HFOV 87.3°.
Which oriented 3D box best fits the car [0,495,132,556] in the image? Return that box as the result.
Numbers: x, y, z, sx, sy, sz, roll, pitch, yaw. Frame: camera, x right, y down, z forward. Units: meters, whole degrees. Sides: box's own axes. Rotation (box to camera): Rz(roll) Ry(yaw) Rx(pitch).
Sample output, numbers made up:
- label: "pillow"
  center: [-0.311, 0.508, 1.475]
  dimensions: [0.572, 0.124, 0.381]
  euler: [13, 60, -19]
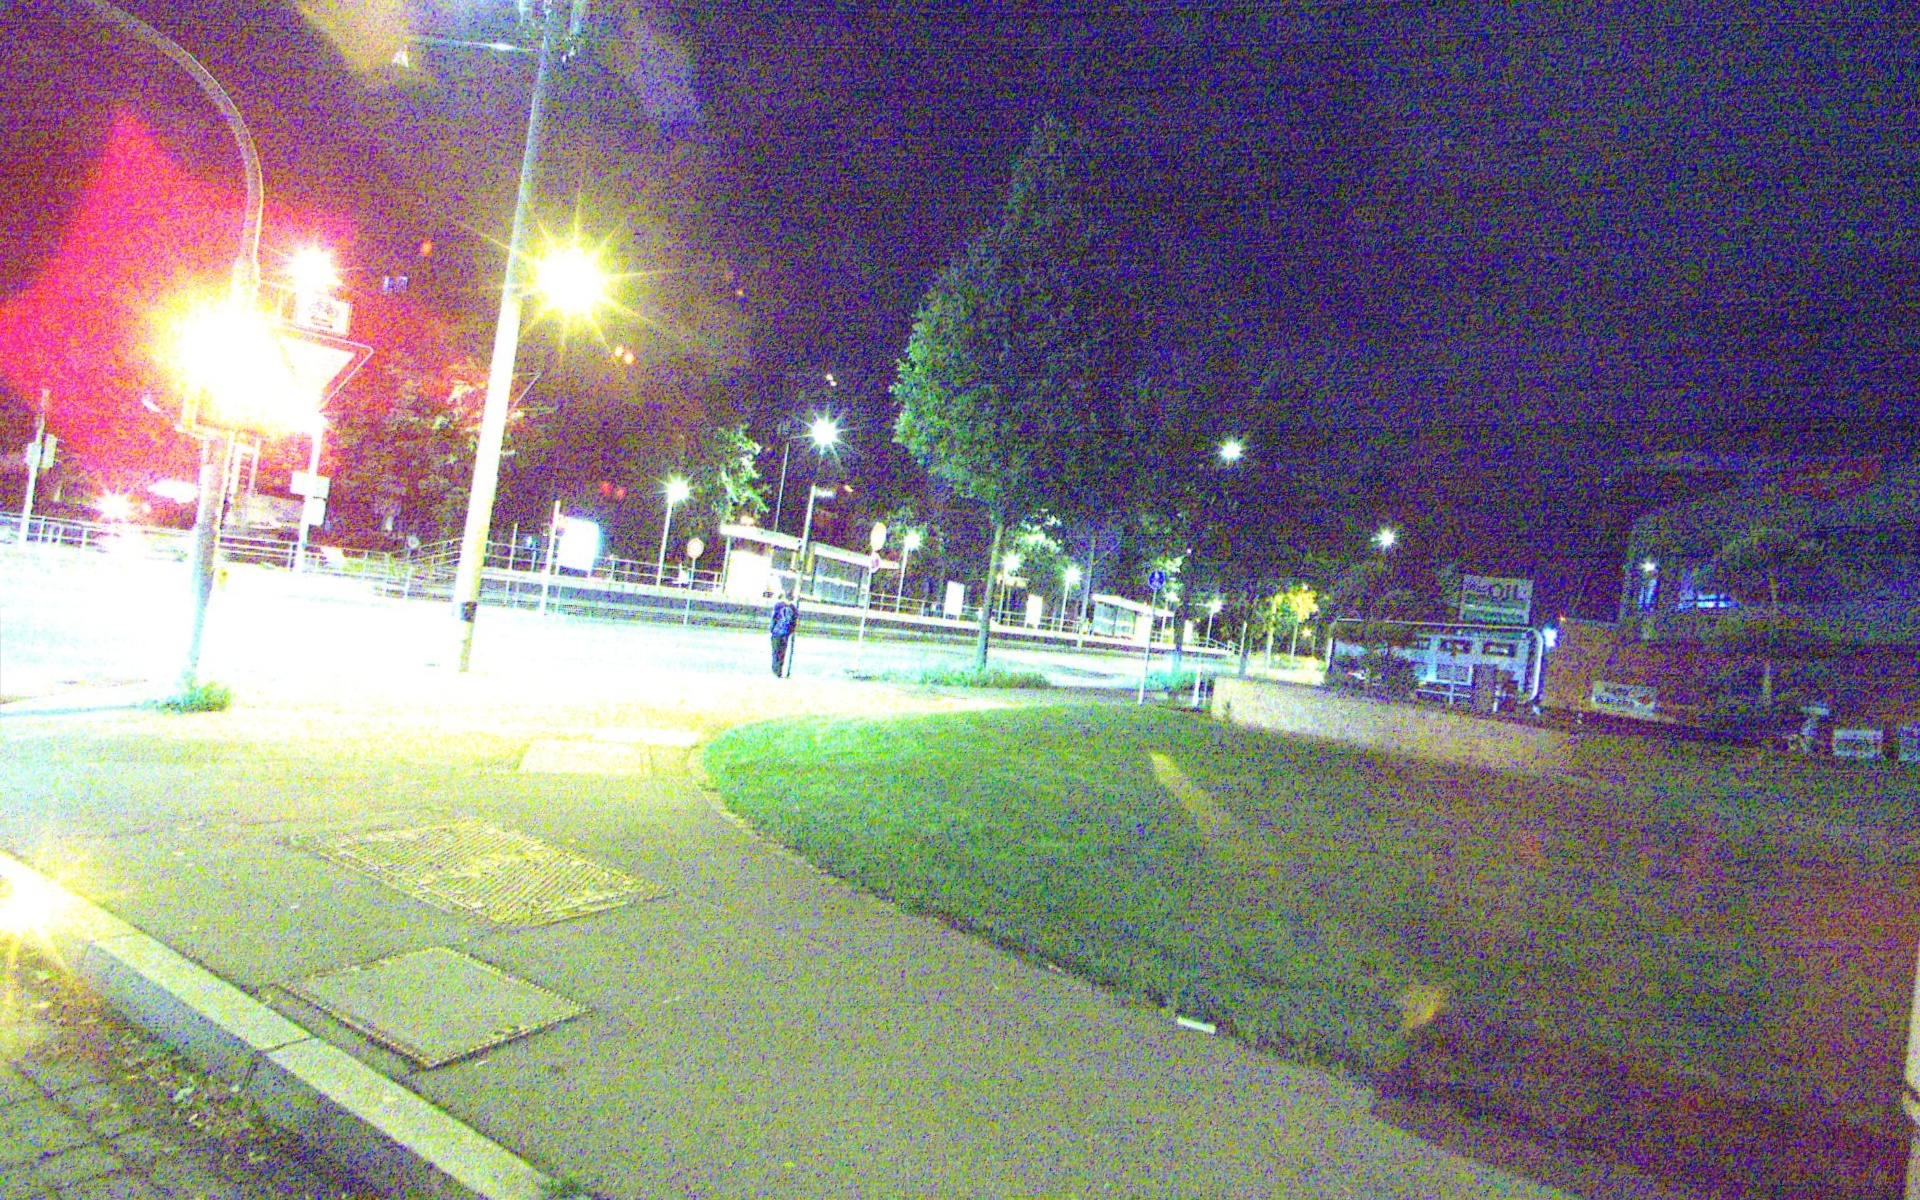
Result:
- label: "car"
  center: [-28.118, -2.329, 30.802]
  dimensions: [1.741, 1.421, 3.873]
  euler: [6, -1, 35]

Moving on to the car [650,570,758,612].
- label: "car"
  center: [-12.253, -0.403, 48.428]
  dimensions: [1.822, 1.437, 4.943]
  euler: [6, -1, 35]

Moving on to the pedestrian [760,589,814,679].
- label: "pedestrian"
  center: [-3.372, 0.651, 19.587]
  dimensions: [0.867, 1.677, 0.835]
  euler: [2, 1, -18]

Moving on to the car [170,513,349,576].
- label: "car"
  center: [-23.050, -1.806, 33.243]
  dimensions: [1.822, 1.437, 4.429]
  euler: [6, -1, 35]
